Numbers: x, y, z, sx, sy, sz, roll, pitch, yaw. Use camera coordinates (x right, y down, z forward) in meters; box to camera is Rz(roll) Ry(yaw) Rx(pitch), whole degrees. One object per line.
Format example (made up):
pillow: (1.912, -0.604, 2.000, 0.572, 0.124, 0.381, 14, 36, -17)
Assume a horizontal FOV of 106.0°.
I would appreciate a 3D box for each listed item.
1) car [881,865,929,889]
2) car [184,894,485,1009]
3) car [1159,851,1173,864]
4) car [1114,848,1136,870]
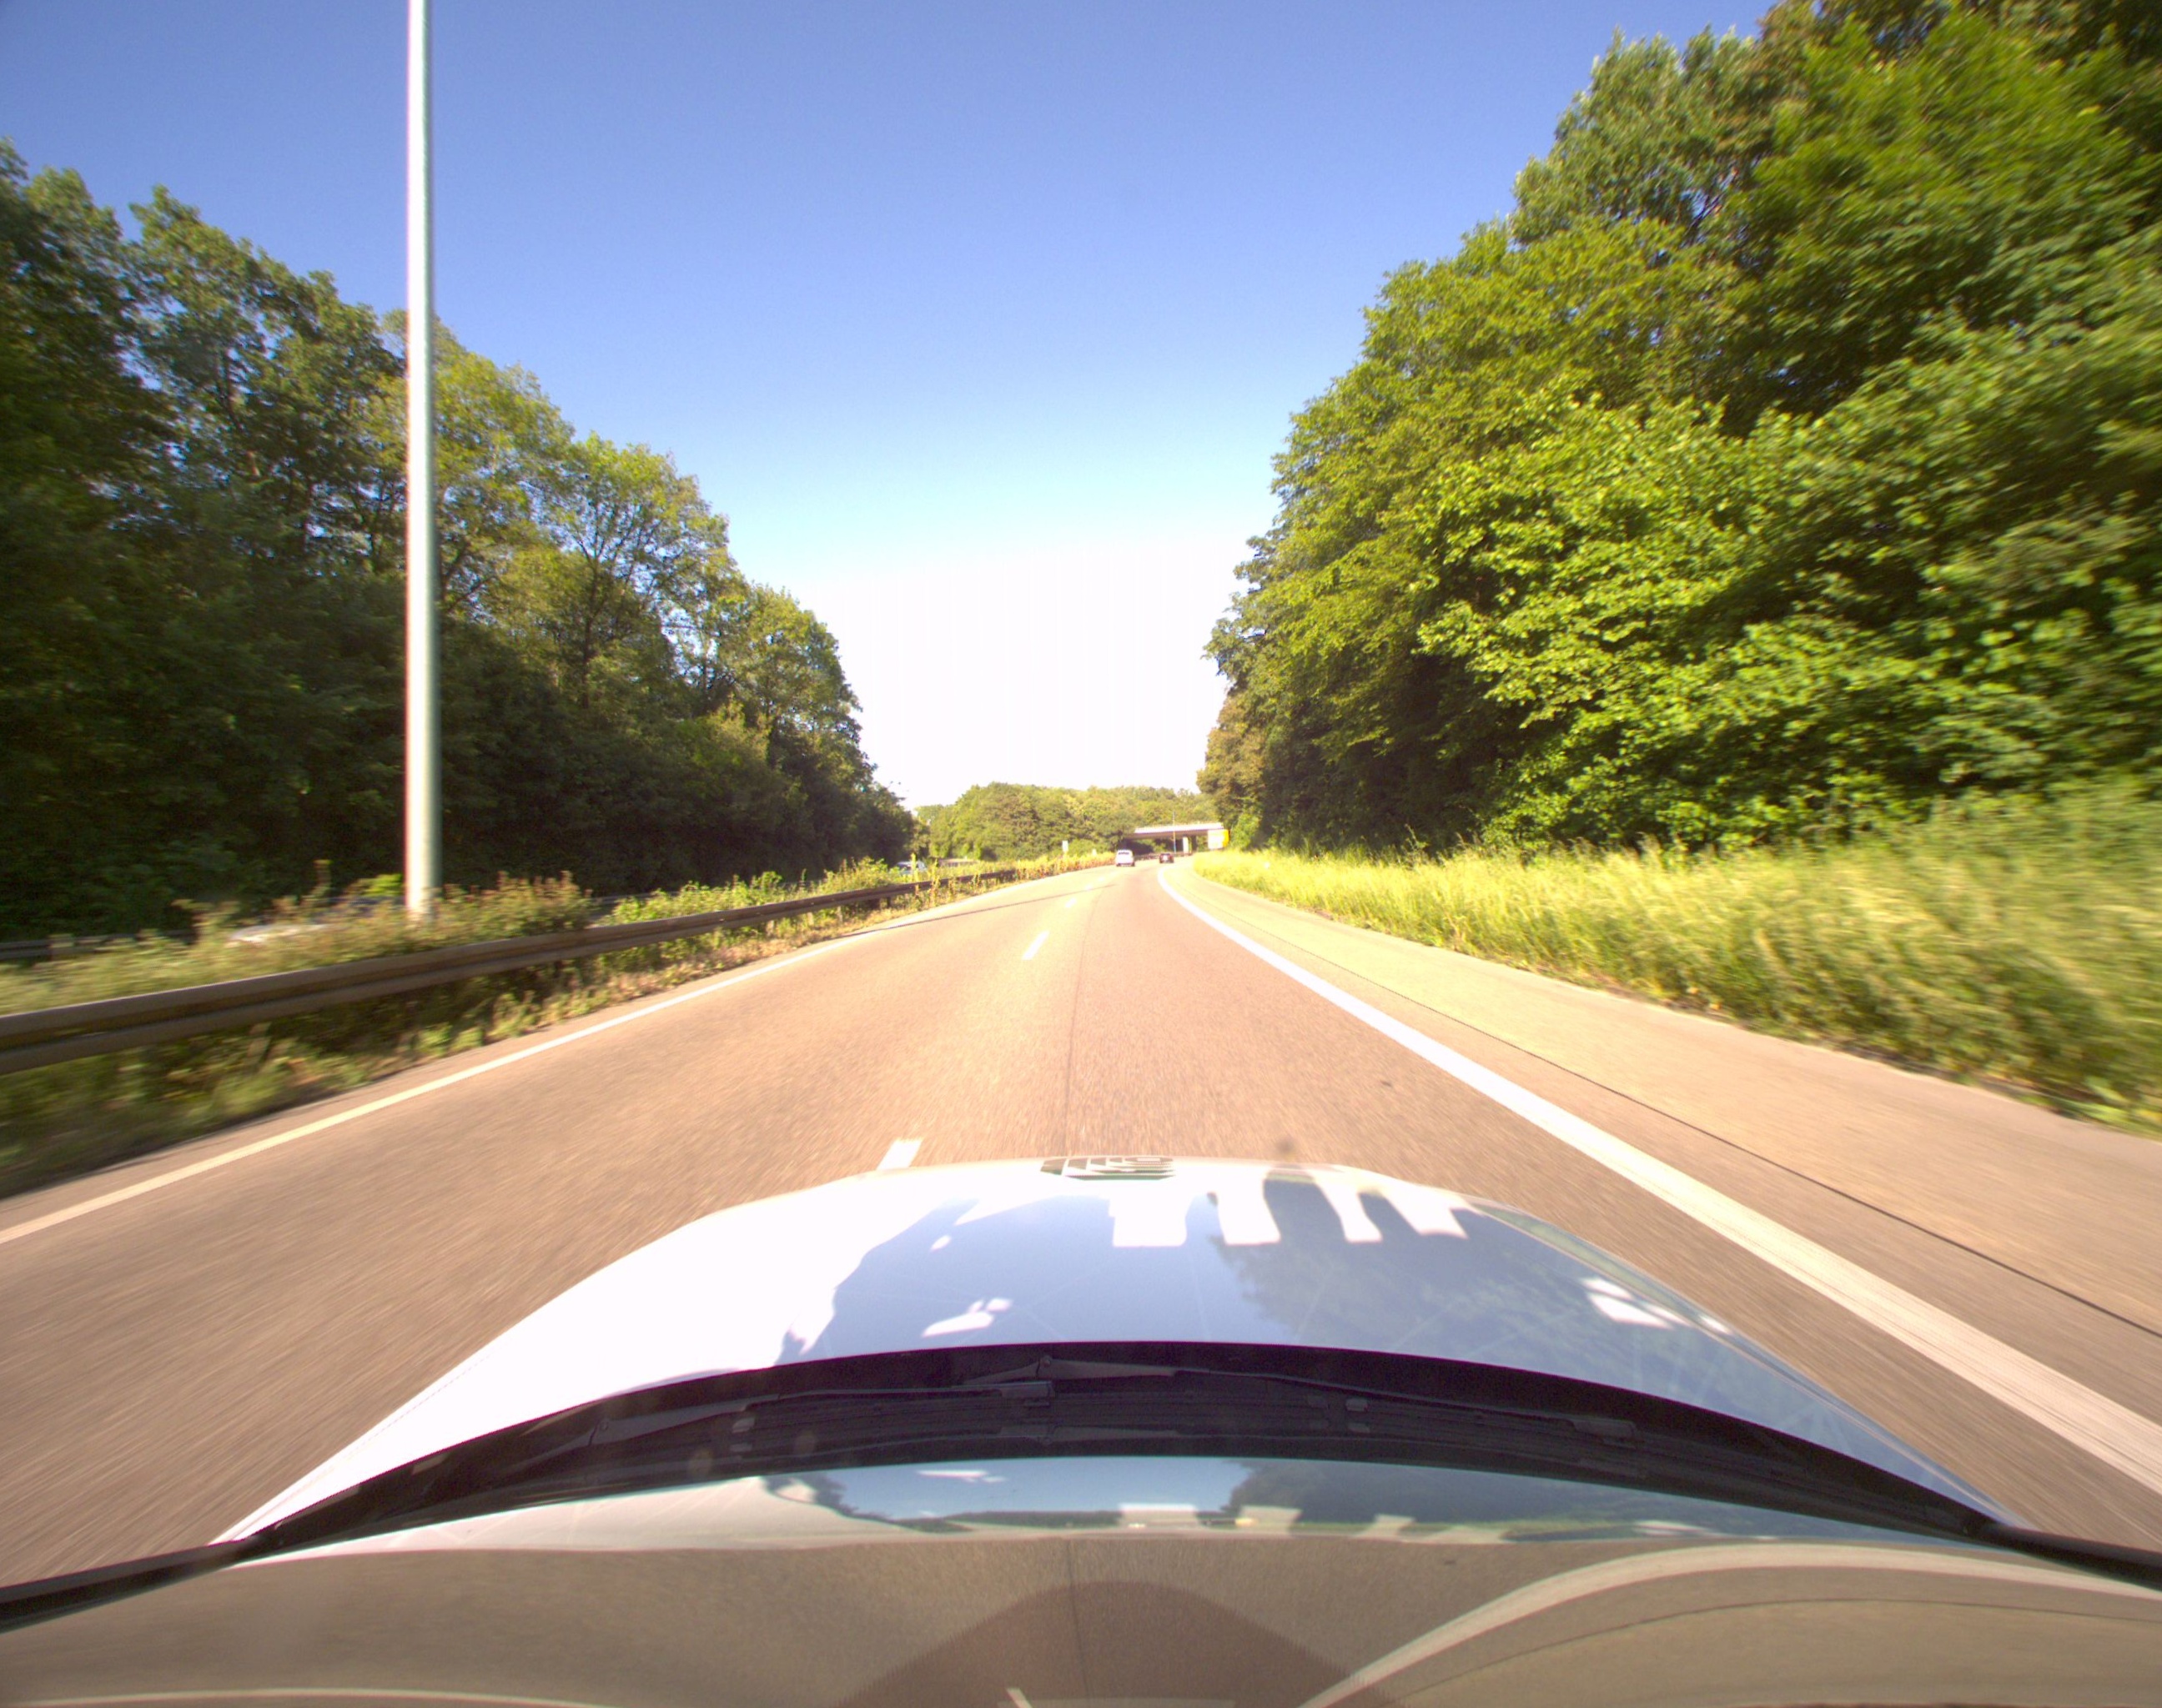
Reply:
car: (-11.985, 1.564, 55.924, 1.986, 1.486, 5.241, -1, -1, 2)
car: (-14.560, 1.805, 16.315, 1.986, 1.785, 4.296, -1, -1, 2)
car: (11.627, 0.519, 111.486, 1.730, 1.662, 3.954, -2, 0, 7)
car: (4.908, 0.570, 90.523, 1.983, 2.277, 4.008, -2, 0, 7)
